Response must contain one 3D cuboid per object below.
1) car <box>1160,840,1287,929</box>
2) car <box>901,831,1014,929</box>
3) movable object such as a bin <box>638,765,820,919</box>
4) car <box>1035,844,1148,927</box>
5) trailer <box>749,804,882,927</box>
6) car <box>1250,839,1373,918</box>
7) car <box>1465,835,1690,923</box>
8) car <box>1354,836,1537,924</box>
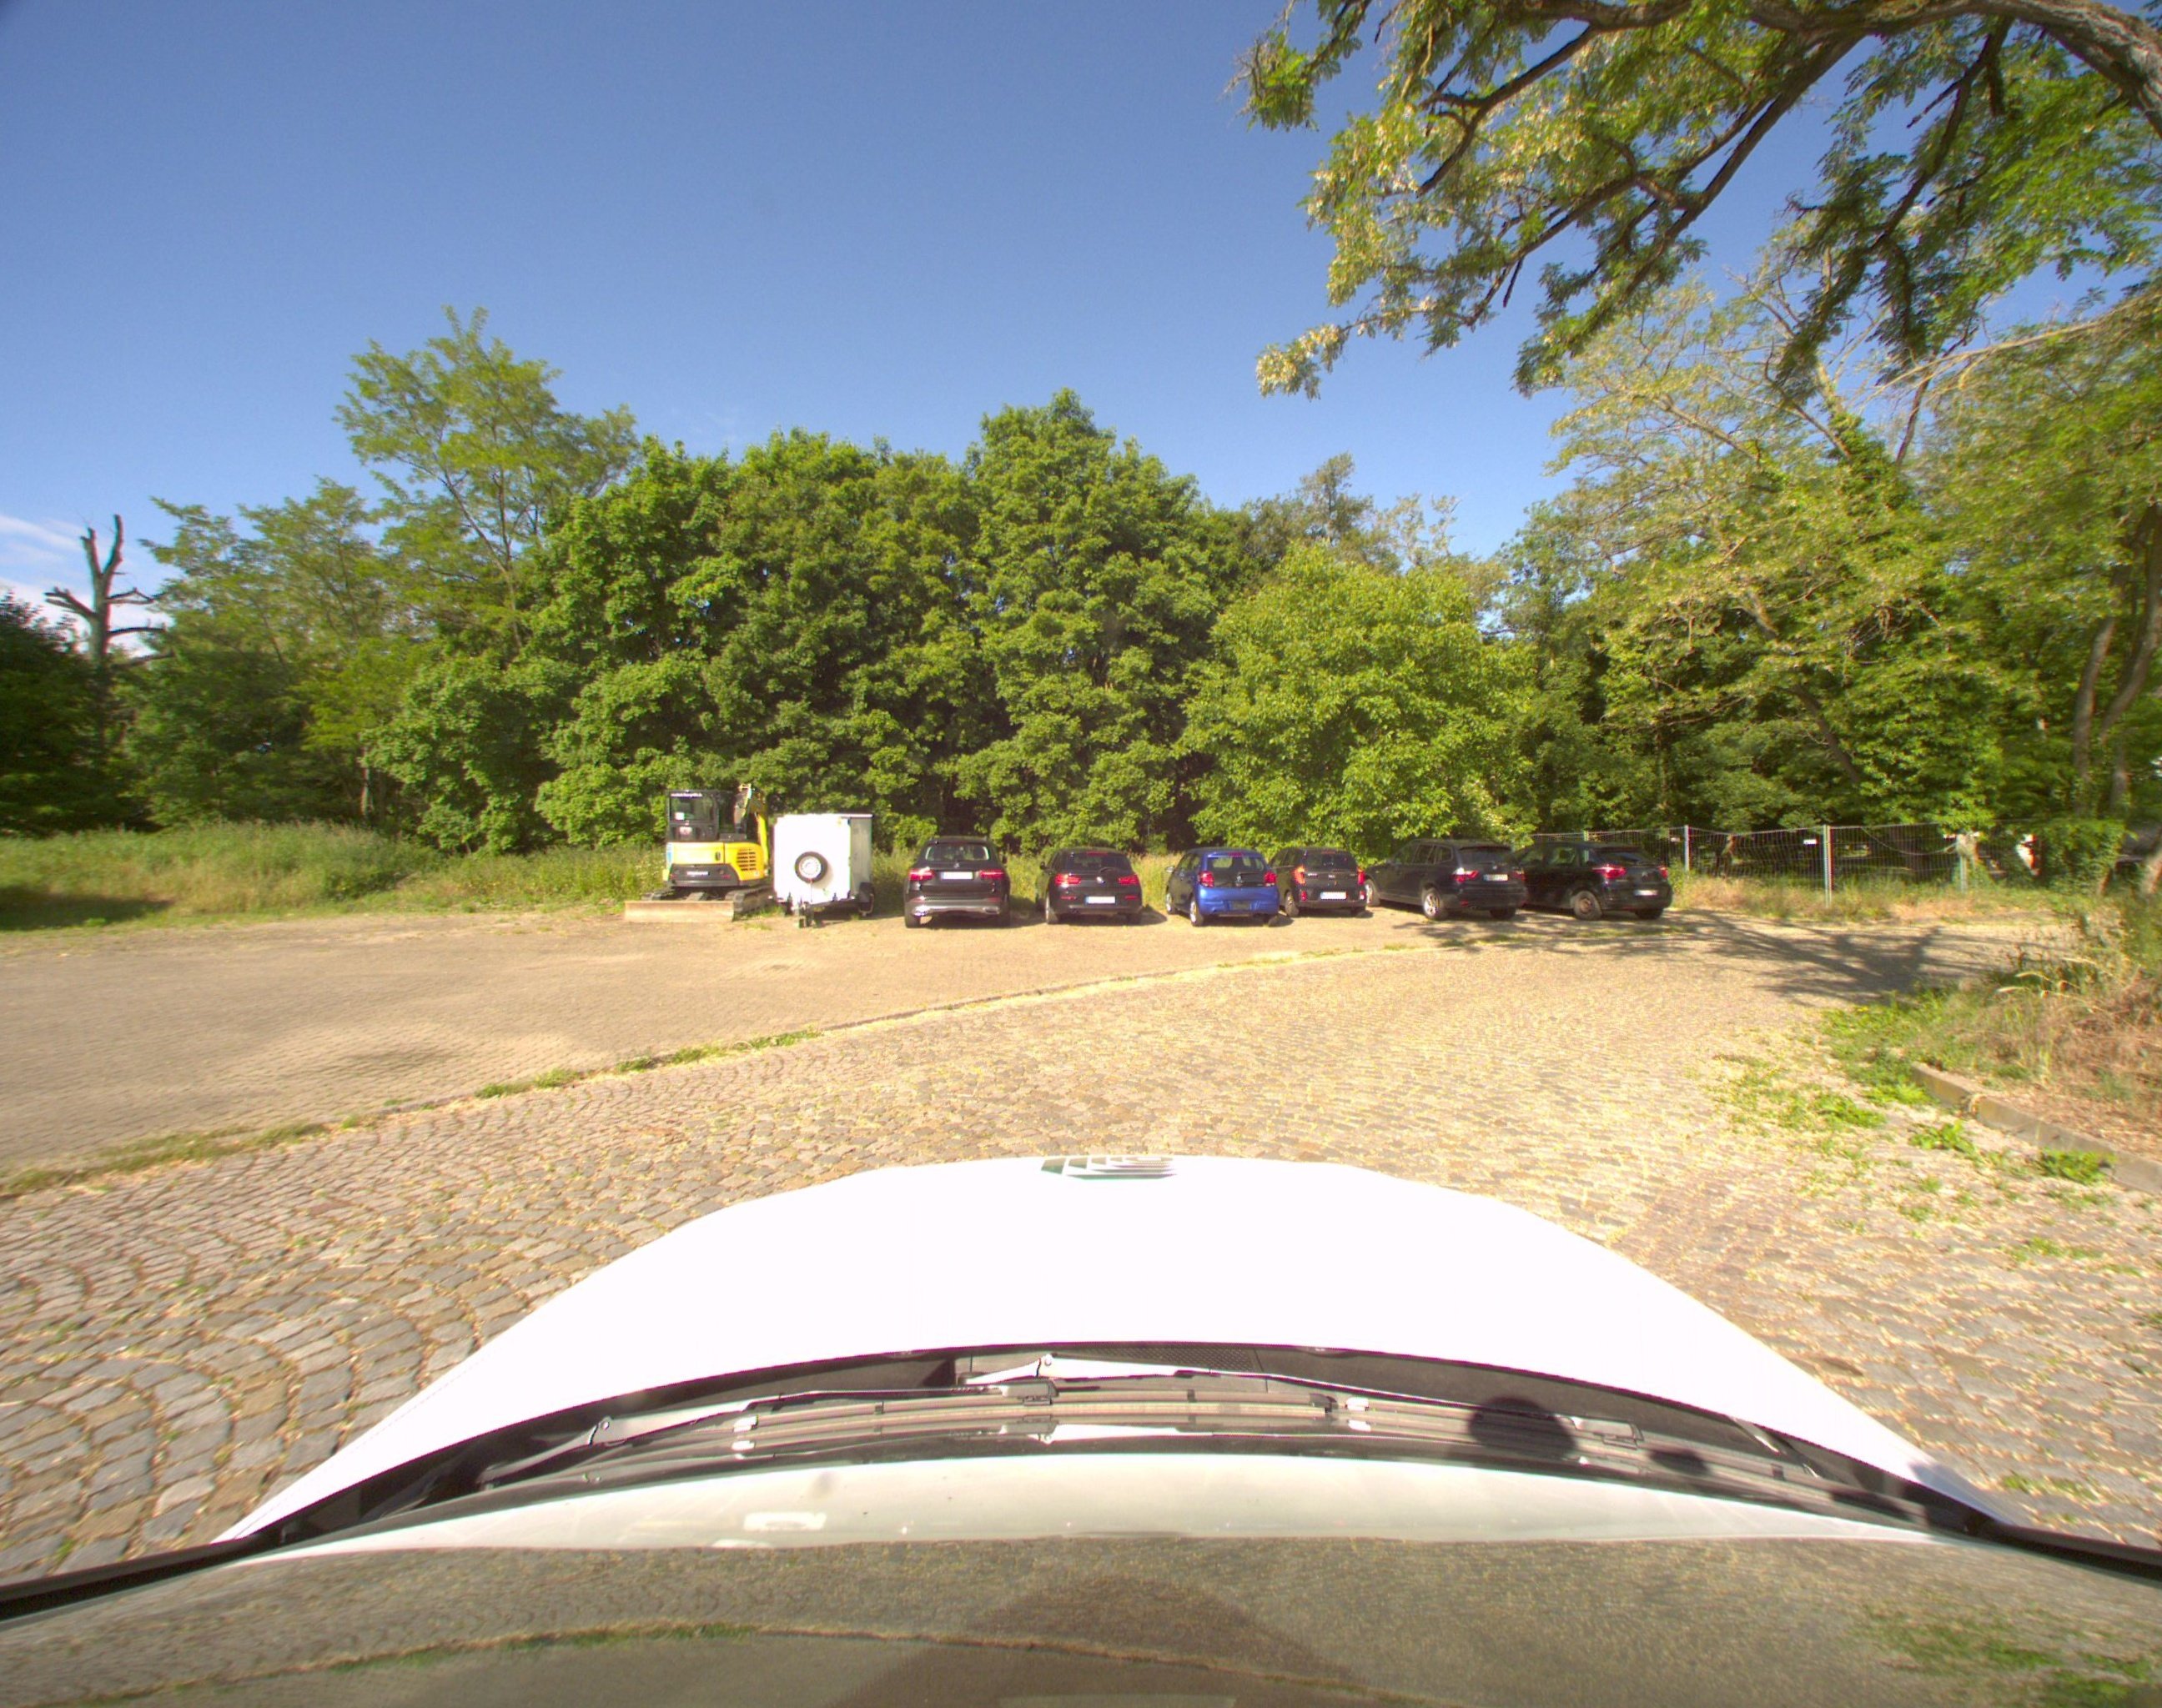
[{"bbox_3d":[2.762,0.528,16.595,1.706,1.493,3.659,0,3,-4],"label":"car"},{"bbox_3d":[-2.222,0.405,15.615,1.859,1.641,3.815,0,1,-5],"label":"car"},{"bbox_3d":[-7.637,-0.262,18.329,1.988,2.966,5.161,0,0,-2],"label":"movable object such as a bin"},{"bbox_3d":[0.095,0.524,16.232,1.826,1.451,3.655,0,1,-7],"label":"car"},{"bbox_3d":[-4.994,0.131,15.869,1.632,2.093,3.965,0,2,-6],"label":"trailer"},{"bbox_3d":[5.023,0.465,18.196,1.668,1.515,3.550,0,2,-2],"label":"car"},{"bbox_3d":[10.949,0.436,18.371,1.790,1.651,4.279,0,3,-15],"label":"car"},{"bbox_3d":[7.891,0.461,18.127,1.810,1.656,4.180,0,2,-8],"label":"car"}]
